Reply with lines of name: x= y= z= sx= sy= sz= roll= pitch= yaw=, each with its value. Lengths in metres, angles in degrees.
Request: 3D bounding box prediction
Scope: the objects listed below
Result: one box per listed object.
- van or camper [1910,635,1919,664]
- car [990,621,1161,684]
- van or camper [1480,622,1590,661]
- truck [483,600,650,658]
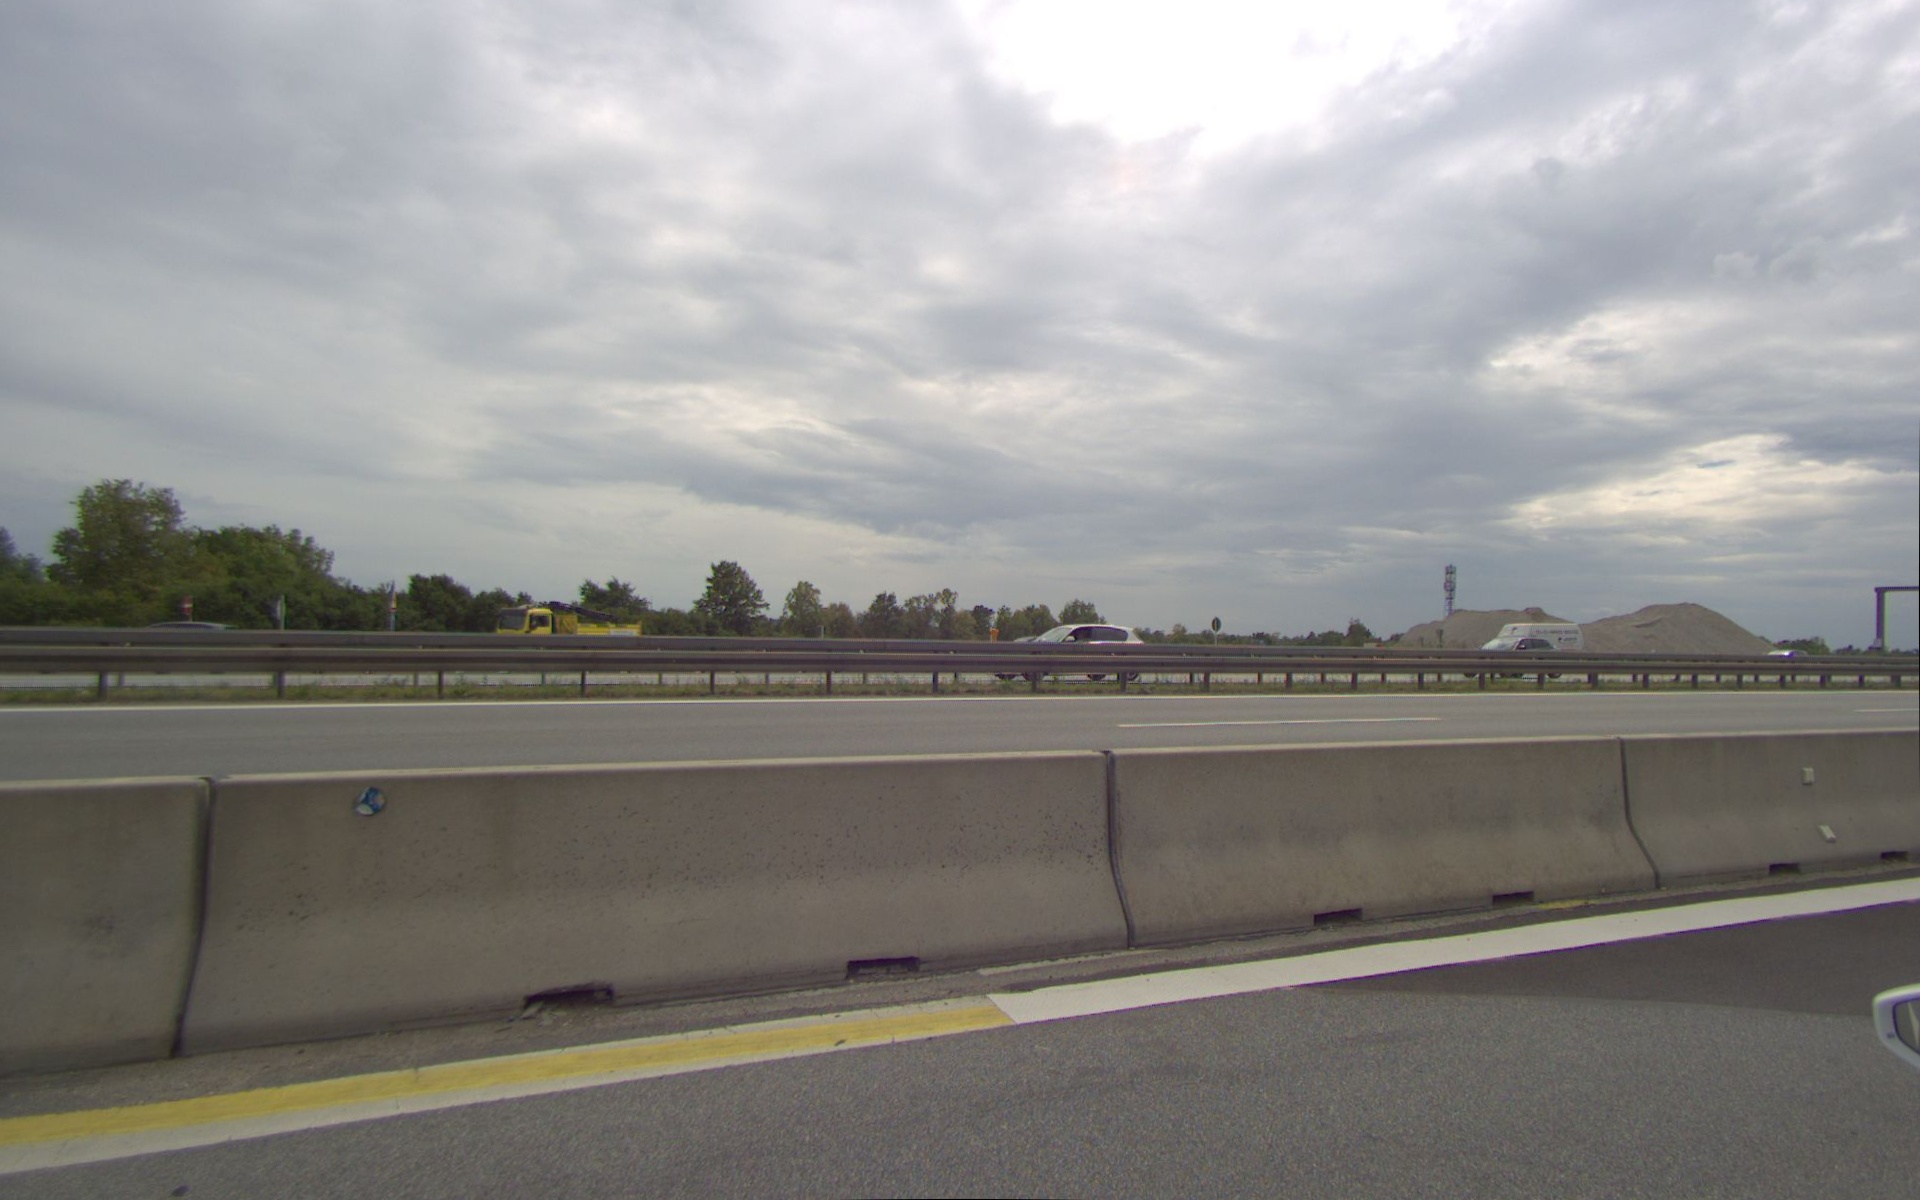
van or camper: x=75.629 y=3.843 z=76.931 sx=5.730 sy=2.200 sz=2.181 roll=2 pitch=-1 yaw=-25
car: x=2.935 y=1.306 z=25.408 sx=3.953 sy=1.442 sz=1.884 roll=2 pitch=-1 yaw=-30
van or camper: x=32.300 y=2.331 z=56.383 sx=6.195 sy=2.040 sz=2.228 roll=2 pitch=-1 yaw=-26
truck: x=-20.915 y=1.546 z=54.091 sx=2.861 sy=2.810 sz=8.775 roll=1 pitch=-1 yaw=25
